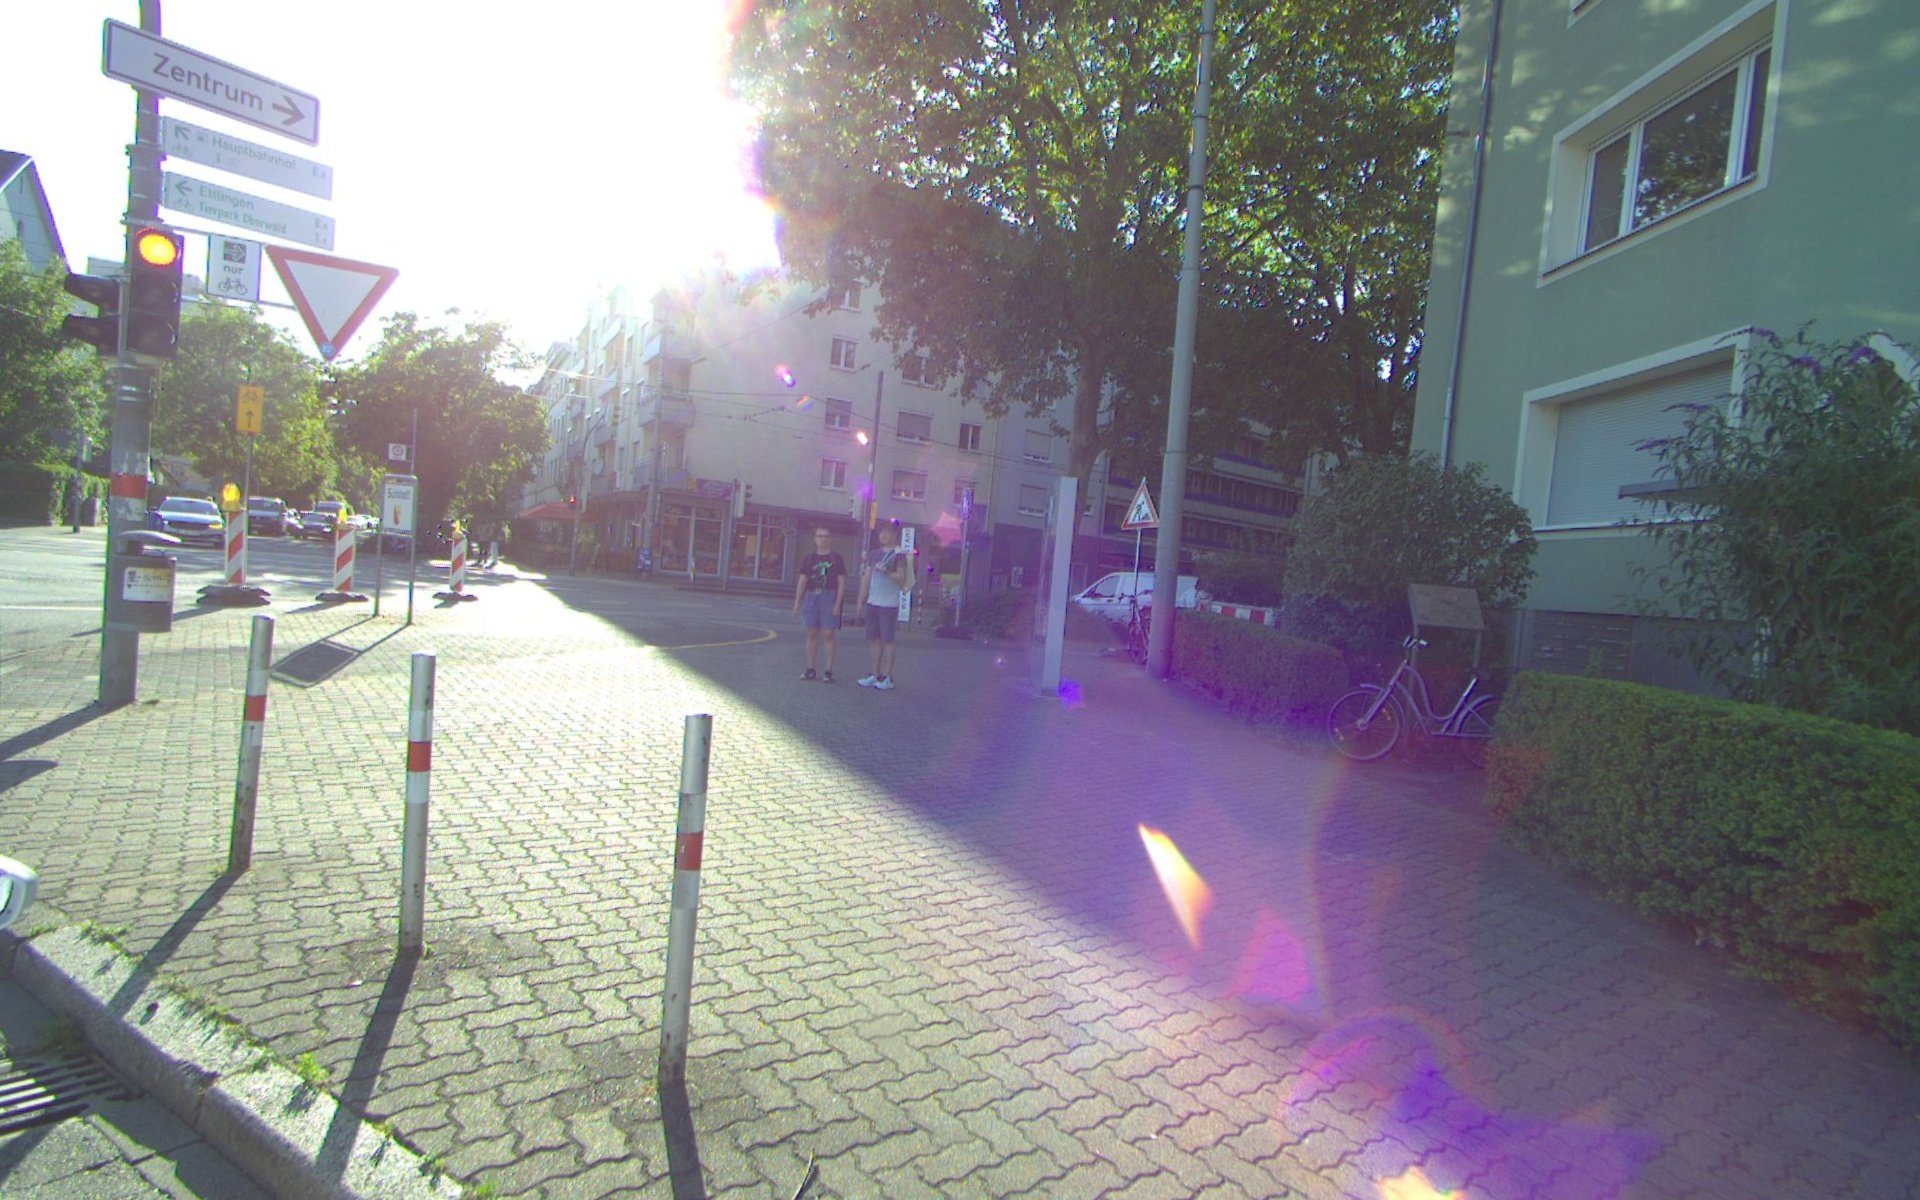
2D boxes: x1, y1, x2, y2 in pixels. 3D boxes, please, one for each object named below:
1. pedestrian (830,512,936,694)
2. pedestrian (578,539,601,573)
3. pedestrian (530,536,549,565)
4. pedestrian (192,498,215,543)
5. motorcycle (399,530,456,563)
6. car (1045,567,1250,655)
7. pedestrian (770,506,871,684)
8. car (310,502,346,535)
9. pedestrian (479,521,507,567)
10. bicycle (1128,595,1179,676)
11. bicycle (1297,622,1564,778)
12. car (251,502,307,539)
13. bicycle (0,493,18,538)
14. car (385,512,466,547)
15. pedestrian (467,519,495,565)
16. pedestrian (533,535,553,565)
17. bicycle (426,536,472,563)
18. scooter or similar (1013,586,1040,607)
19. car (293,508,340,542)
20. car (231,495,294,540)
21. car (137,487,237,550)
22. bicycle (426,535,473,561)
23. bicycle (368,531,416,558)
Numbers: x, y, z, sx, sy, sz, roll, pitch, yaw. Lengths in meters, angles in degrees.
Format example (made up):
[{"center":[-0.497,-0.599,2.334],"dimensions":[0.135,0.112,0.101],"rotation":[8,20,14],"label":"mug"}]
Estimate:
[{"center":[-0.795,0.026,10.521],"dimensions":[0.680,1.774,0.794],"rotation":[6,2,21],"label":"pedestrian"},{"center":[-18.073,-2.170,49.058],"dimensions":[0.806,1.565,0.905],"rotation":[3,3,-35],"label":"pedestrian"},{"center":[-21.460,-2.528,51.360],"dimensions":[0.803,1.381,0.908],"rotation":[4,2,-23],"label":"pedestrian"},{"center":[-32.967,-3.466,43.846],"dimensions":[0.656,1.864,0.677],"rotation":[4,3,-30],"label":"pedestrian"},{"center":[-21.641,-2.166,40.884],"dimensions":[1.938,1.124,0.829],"rotation":[4,2,-34],"label":"motorcycle"},{"center":[4.710,0.223,26.131],"dimensions":[1.913,1.849,5.185],"rotation":[5,0,-37],"label":"car"},{"center":[-1.477,-0.057,10.724],"dimensions":[0.680,1.774,0.794],"rotation":[6,2,13],"label":"pedestrian"},{"center":[-54.387,-6.982,86.639],"dimensions":[2.336,2.548,5.265],"rotation":[4,2,-31],"label":"car"},{"center":[-18.649,-2.232,40.202],"dimensions":[0.681,1.774,0.793],"rotation":[5,2,-7],"label":"pedestrian"},{"center":[2.863,0.495,15.002],"dimensions":[0.511,1.071,1.933],"rotation":[6,2,7],"label":"bicycle"},{"center":[3.951,0.822,8.548],"dimensions":[1.897,1.071,0.521],"rotation":[6,2,5],"label":"bicycle"},{"center":[-40.161,-4.682,59.462],"dimensions":[2.336,1.818,5.265],"rotation":[4,2,-31],"label":"car"},{"center":[-24.178,-2.133,24.398],"dimensions":[0.651,1.083,2.018],"rotation":[6,1,4],"label":"bicycle"},{"center":[-39.349,-5.154,74.121],"dimensions":[5.050,1.948,2.344],"rotation":[5,0,-32],"label":"car"},{"center":[-19.420,-2.347,40.797],"dimensions":[0.706,1.774,0.793],"rotation":[5,2,-7],"label":"pedestrian"},{"center":[-20.821,-2.489,50.205],"dimensions":[0.803,1.381,0.908],"rotation":[4,2,-23],"label":"pedestrian"},{"center":[-21.973,-2.169,43.279],"dimensions":[1.708,0.945,0.557],"rotation":[5,2,-29],"label":"bicycle"},{"center":[3.465,-0.196,52.166],"dimensions":[1.421,0.966,0.462],"rotation":[4,3,-44],"label":"scooter or similar"},{"center":[-34.659,-4.036,54.257],"dimensions":[1.877,1.585,4.357],"rotation":[3,2,-30],"label":"car"},{"center":[-37.330,-4.399,53.989],"dimensions":[2.336,2.040,5.265],"rotation":[4,2,-31],"label":"car"},{"center":[-23.636,-2.481,30.709],"dimensions":[1.886,1.503,3.951],"rotation":[9,-2,-44],"label":"car"},{"center":[-21.603,-2.192,42.607],"dimensions":[1.708,0.945,0.557],"rotation":[5,2,-29],"label":"bicycle"},{"center":[-23.702,-2.335,42.015],"dimensions":[1.708,0.945,0.667],"rotation":[5,2,-29],"label":"bicycle"}]
